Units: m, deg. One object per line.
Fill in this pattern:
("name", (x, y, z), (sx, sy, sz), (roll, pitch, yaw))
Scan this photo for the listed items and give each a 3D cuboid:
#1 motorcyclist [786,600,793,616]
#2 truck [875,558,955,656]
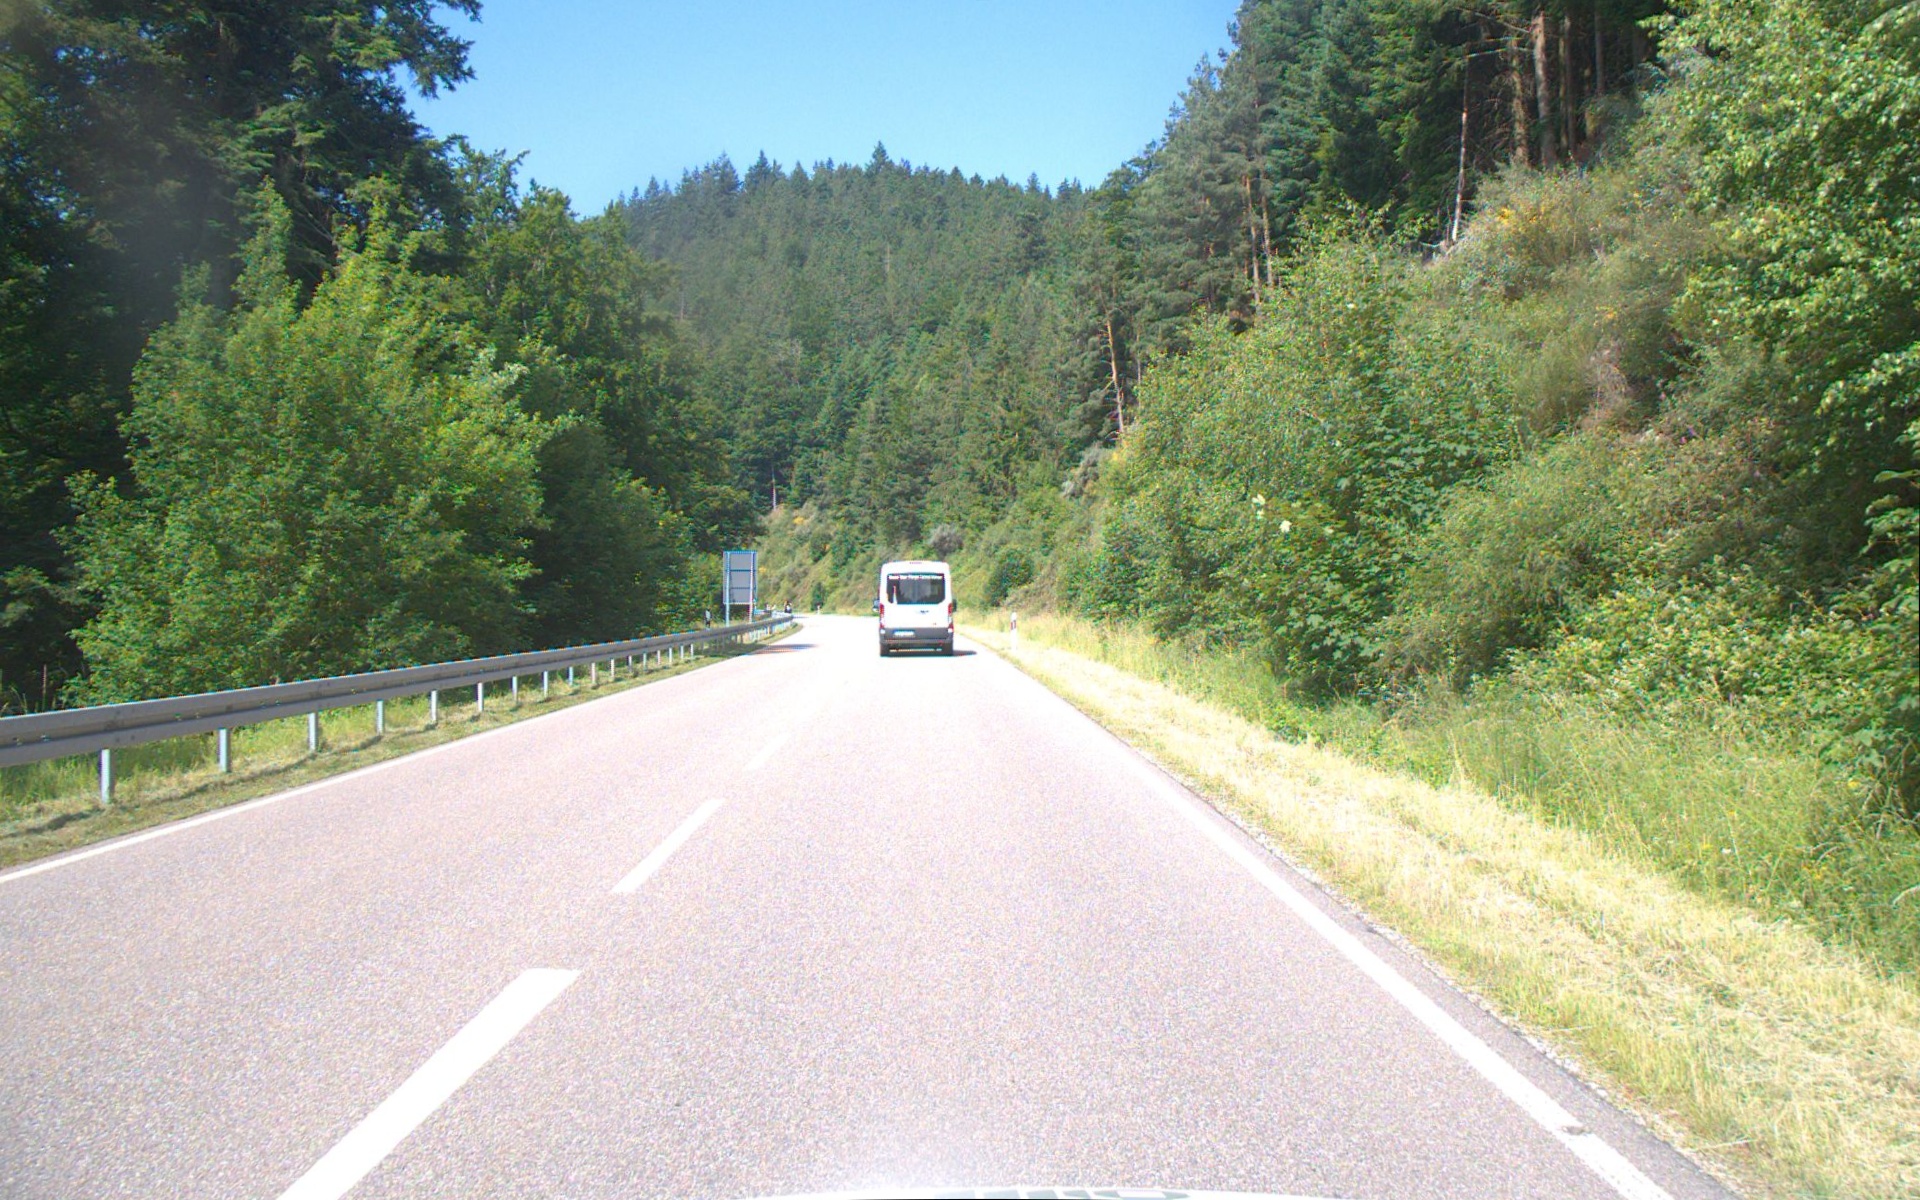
("motorcyclist", (-16.847, 0.763, 163.308), (0.645, 1.539, 0.933), (-1, 0, -4))
("truck", (-1.258, 0.186, 45.222), (2.042, 2.503, 4.872), (0, 0, -2))
